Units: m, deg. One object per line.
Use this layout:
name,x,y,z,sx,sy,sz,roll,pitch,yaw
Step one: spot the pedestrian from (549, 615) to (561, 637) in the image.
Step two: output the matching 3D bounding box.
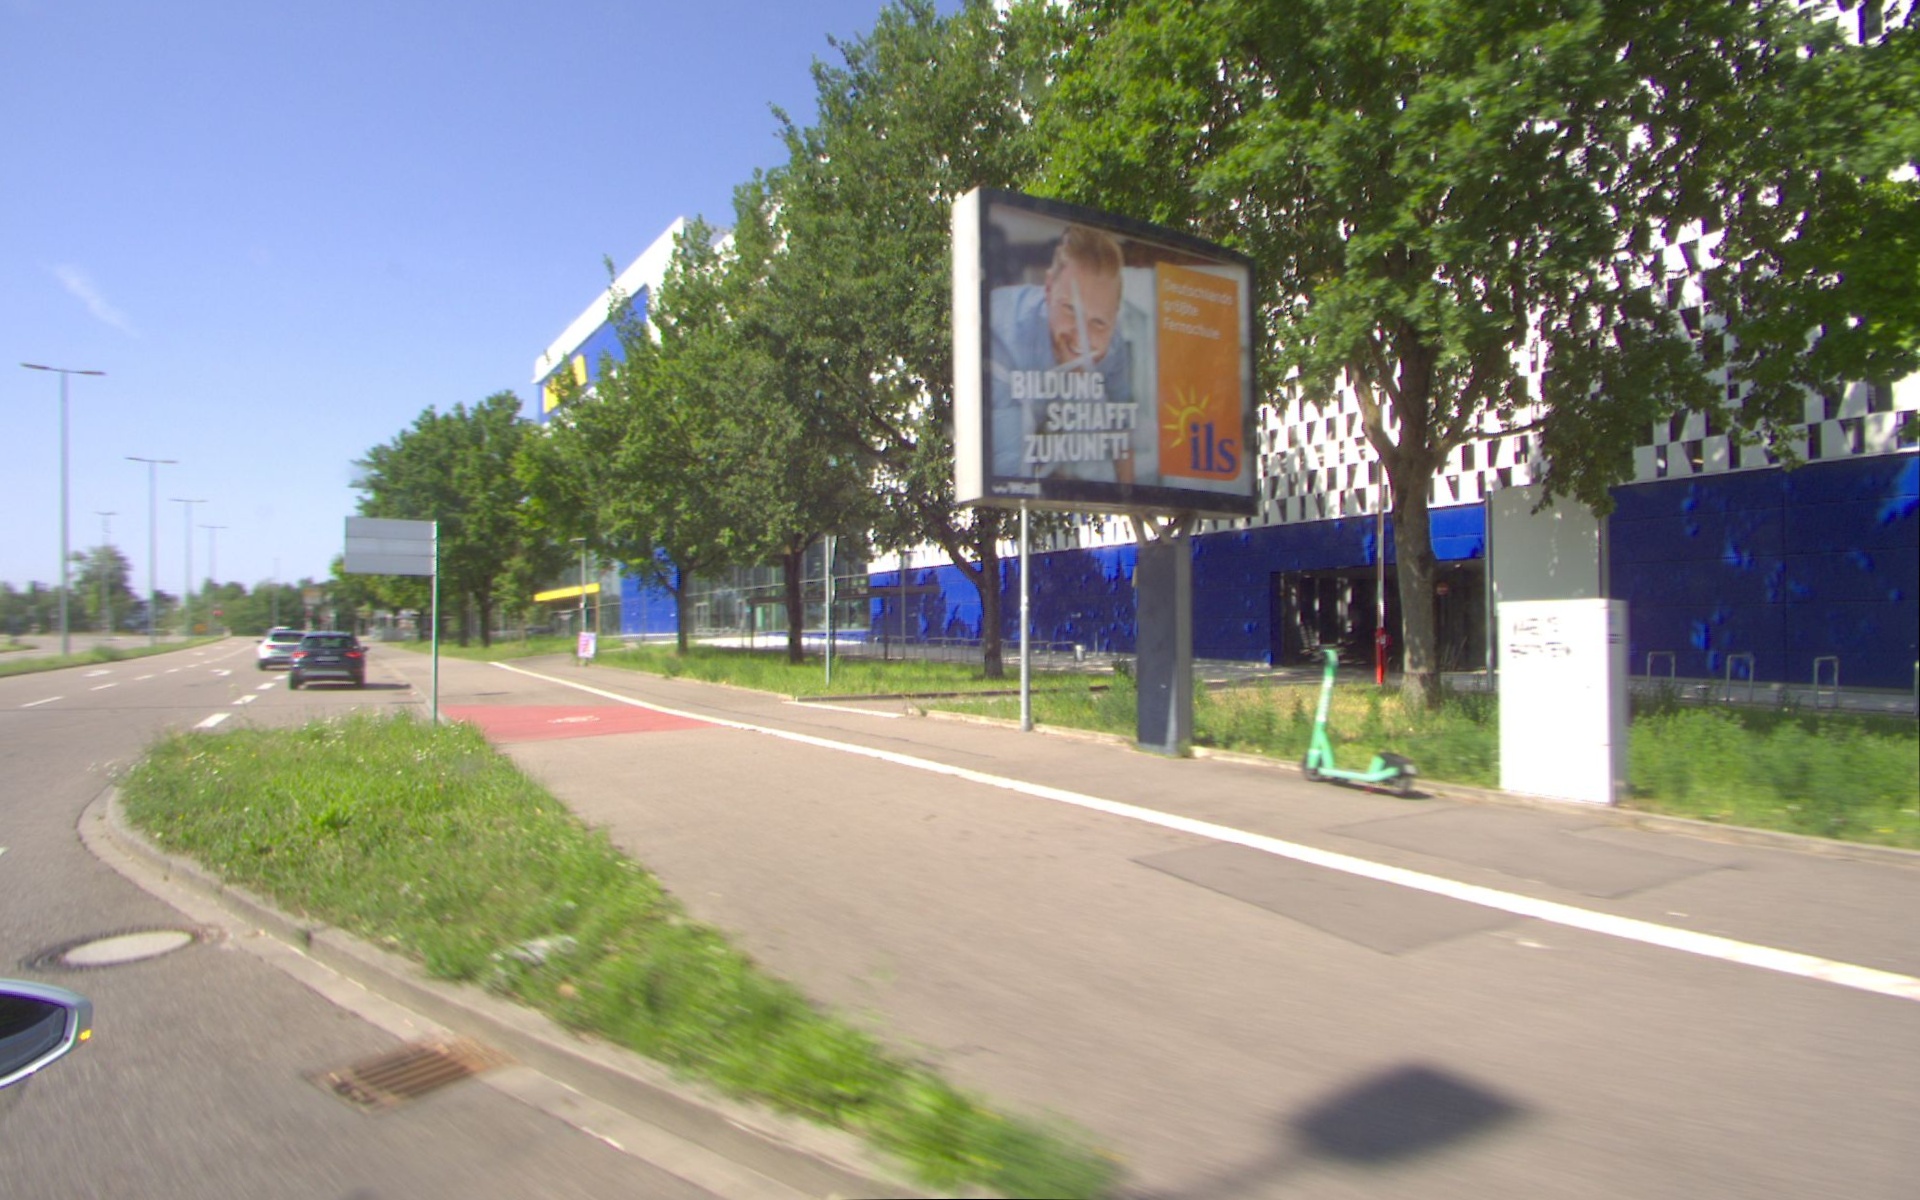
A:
pedestrian,-30.953,1.961,76.563,0.682,1.633,0.765,0,0,-37

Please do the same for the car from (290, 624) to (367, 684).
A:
car,-17.426,1.449,27.603,1.654,1.543,3.356,2,-2,-33

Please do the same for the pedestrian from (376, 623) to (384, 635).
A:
pedestrian,-75.663,3.762,130.726,0.763,1.531,1.004,0,1,-23

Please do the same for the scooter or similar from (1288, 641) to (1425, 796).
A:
scooter or similar,3.244,0.932,8.284,0.395,1.181,1.183,0,-2,-17

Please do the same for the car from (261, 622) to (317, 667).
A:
car,-26.186,1.705,39.029,1.617,1.518,3.839,2,0,-37
